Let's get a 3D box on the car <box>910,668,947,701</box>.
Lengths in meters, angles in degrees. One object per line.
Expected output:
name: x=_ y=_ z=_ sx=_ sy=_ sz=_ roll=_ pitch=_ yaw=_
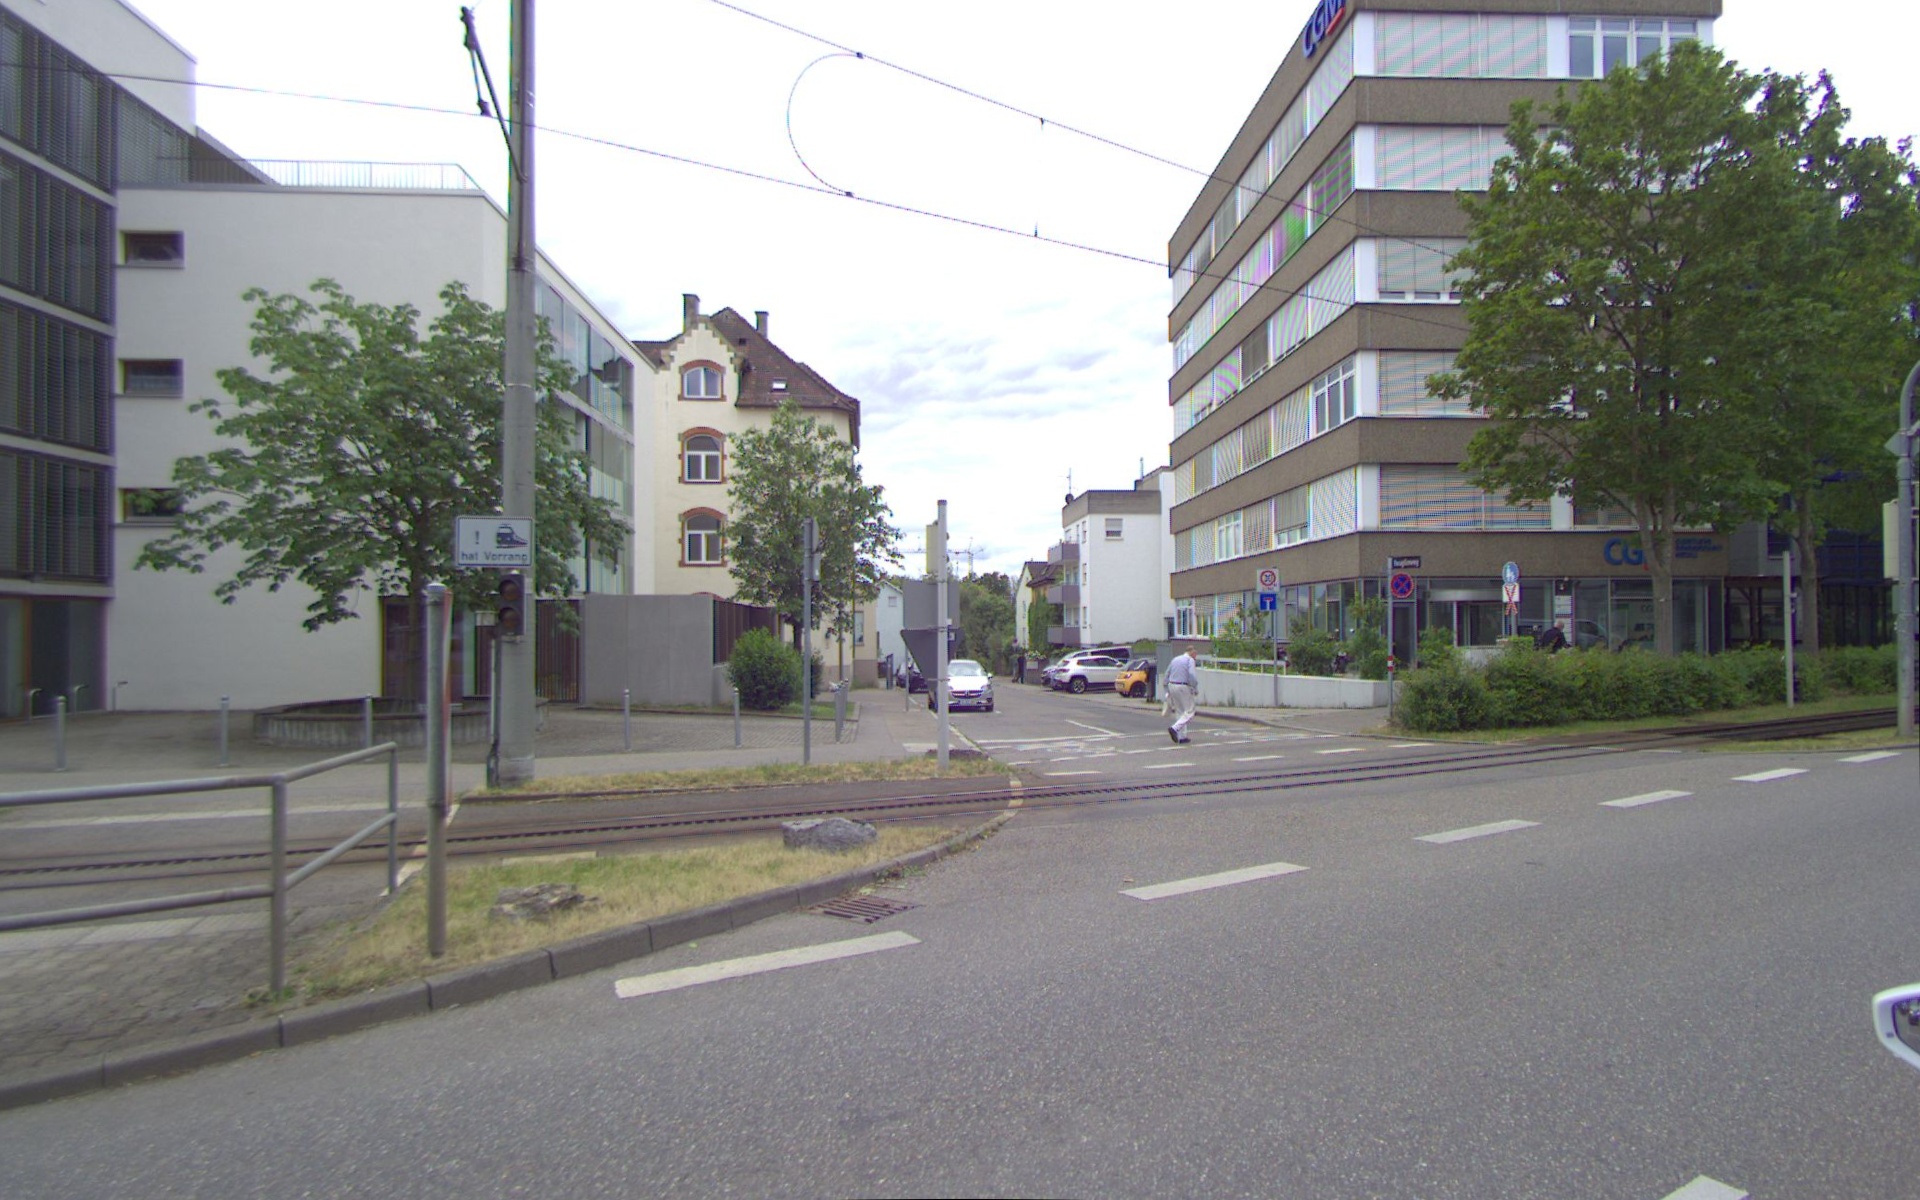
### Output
car: x=-1.572 y=4.102 z=48.892 sx=1.644 sy=1.521 sz=4.000 roll=0 pitch=-4 yaw=-4

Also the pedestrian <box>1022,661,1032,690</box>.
pedestrian: x=4.135 y=4.635 z=61.994 sx=0.520 sy=1.752 sz=0.467 roll=0 pitch=-2 yaw=-5

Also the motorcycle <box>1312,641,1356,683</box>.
motorcycle: x=11.343 y=1.857 z=30.492 sx=0.557 sy=1.214 sz=1.885 roll=0 pitch=-2 yaw=-2

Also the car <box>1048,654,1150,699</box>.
car: x=6.806 y=3.754 z=49.467 sx=4.600 sy=2.094 sz=1.854 roll=0 pitch=-4 yaw=-8

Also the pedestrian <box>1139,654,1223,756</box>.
pedestrian: x=3.540 y=1.658 z=16.131 sx=0.984 sy=1.546 sz=0.844 roll=1 pitch=-3 yaw=-30

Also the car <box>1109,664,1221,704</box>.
car: x=8.000 y=3.276 z=39.359 sx=3.926 sy=1.443 sz=1.729 roll=0 pitch=-4 yaw=-8

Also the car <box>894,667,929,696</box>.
car: x=-2.924 y=4.870 z=60.237 sx=1.865 sy=1.550 sz=3.997 roll=0 pitch=-2 yaw=-6

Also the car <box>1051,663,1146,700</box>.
car: x=6.253 y=3.701 z=45.575 sx=3.926 sy=1.594 sz=1.854 roll=0 pitch=-4 yaw=-8

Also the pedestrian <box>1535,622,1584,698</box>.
pedestrian: x=13.990 y=1.396 z=23.452 sx=0.673 sy=1.727 sz=0.686 roll=1 pitch=-3 yaw=-26

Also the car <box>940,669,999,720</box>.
car: x=0.209 y=2.748 z=29.626 sx=1.610 sy=1.376 sz=4.001 roll=-1 pitch=-4 yaw=-1
